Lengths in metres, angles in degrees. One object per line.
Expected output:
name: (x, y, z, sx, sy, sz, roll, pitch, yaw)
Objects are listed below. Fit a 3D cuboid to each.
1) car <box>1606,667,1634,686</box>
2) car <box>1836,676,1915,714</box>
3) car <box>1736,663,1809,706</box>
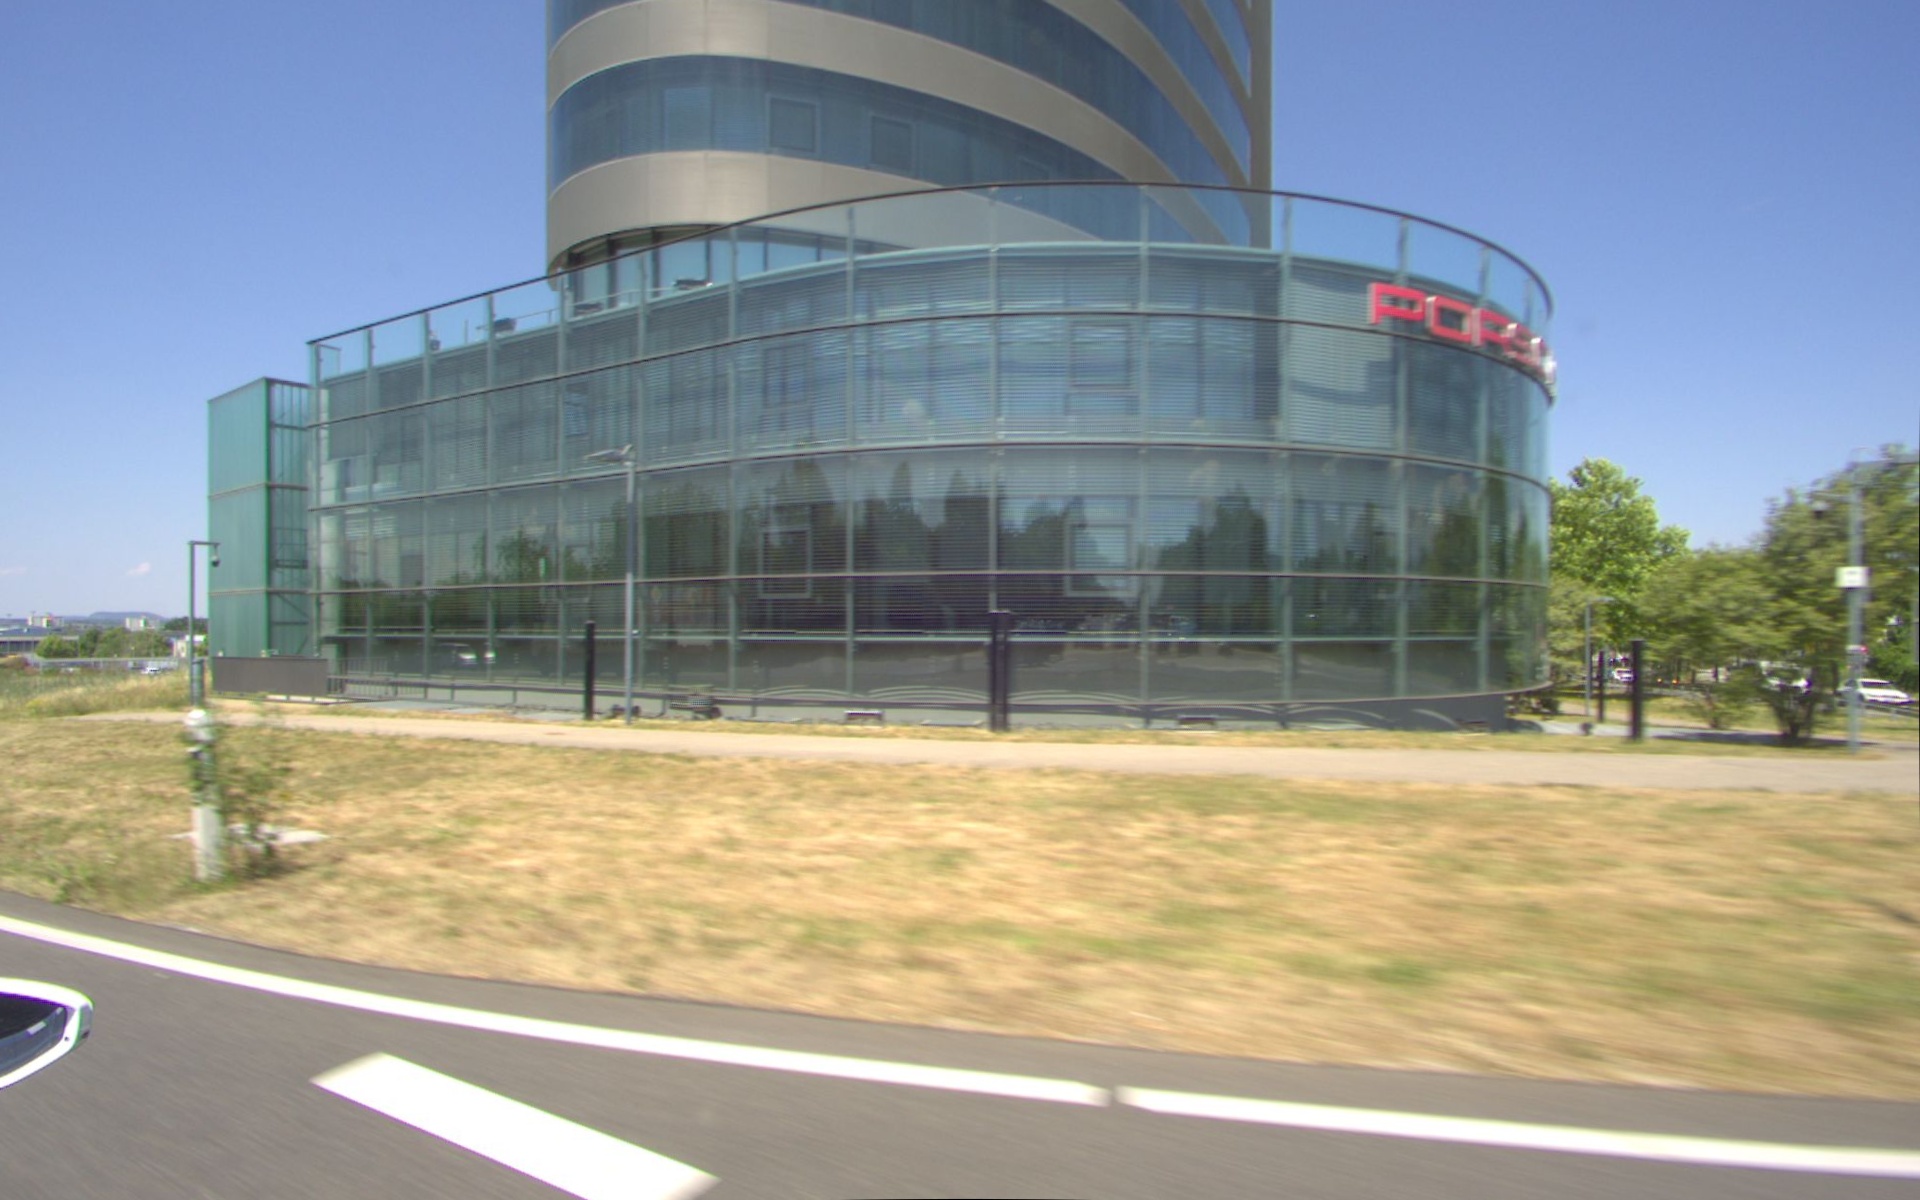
car: (67.209, 7.737, 101.979, 1.839, 1.833, 4.234, -1, -3, 27)
car: (49.860, 5.141, 54.622, 1.838, 1.833, 4.237, 0, -3, 23)
car: (47.629, 4.888, 58.825, 2.020, 2.325, 5.005, 0, -3, 23)
